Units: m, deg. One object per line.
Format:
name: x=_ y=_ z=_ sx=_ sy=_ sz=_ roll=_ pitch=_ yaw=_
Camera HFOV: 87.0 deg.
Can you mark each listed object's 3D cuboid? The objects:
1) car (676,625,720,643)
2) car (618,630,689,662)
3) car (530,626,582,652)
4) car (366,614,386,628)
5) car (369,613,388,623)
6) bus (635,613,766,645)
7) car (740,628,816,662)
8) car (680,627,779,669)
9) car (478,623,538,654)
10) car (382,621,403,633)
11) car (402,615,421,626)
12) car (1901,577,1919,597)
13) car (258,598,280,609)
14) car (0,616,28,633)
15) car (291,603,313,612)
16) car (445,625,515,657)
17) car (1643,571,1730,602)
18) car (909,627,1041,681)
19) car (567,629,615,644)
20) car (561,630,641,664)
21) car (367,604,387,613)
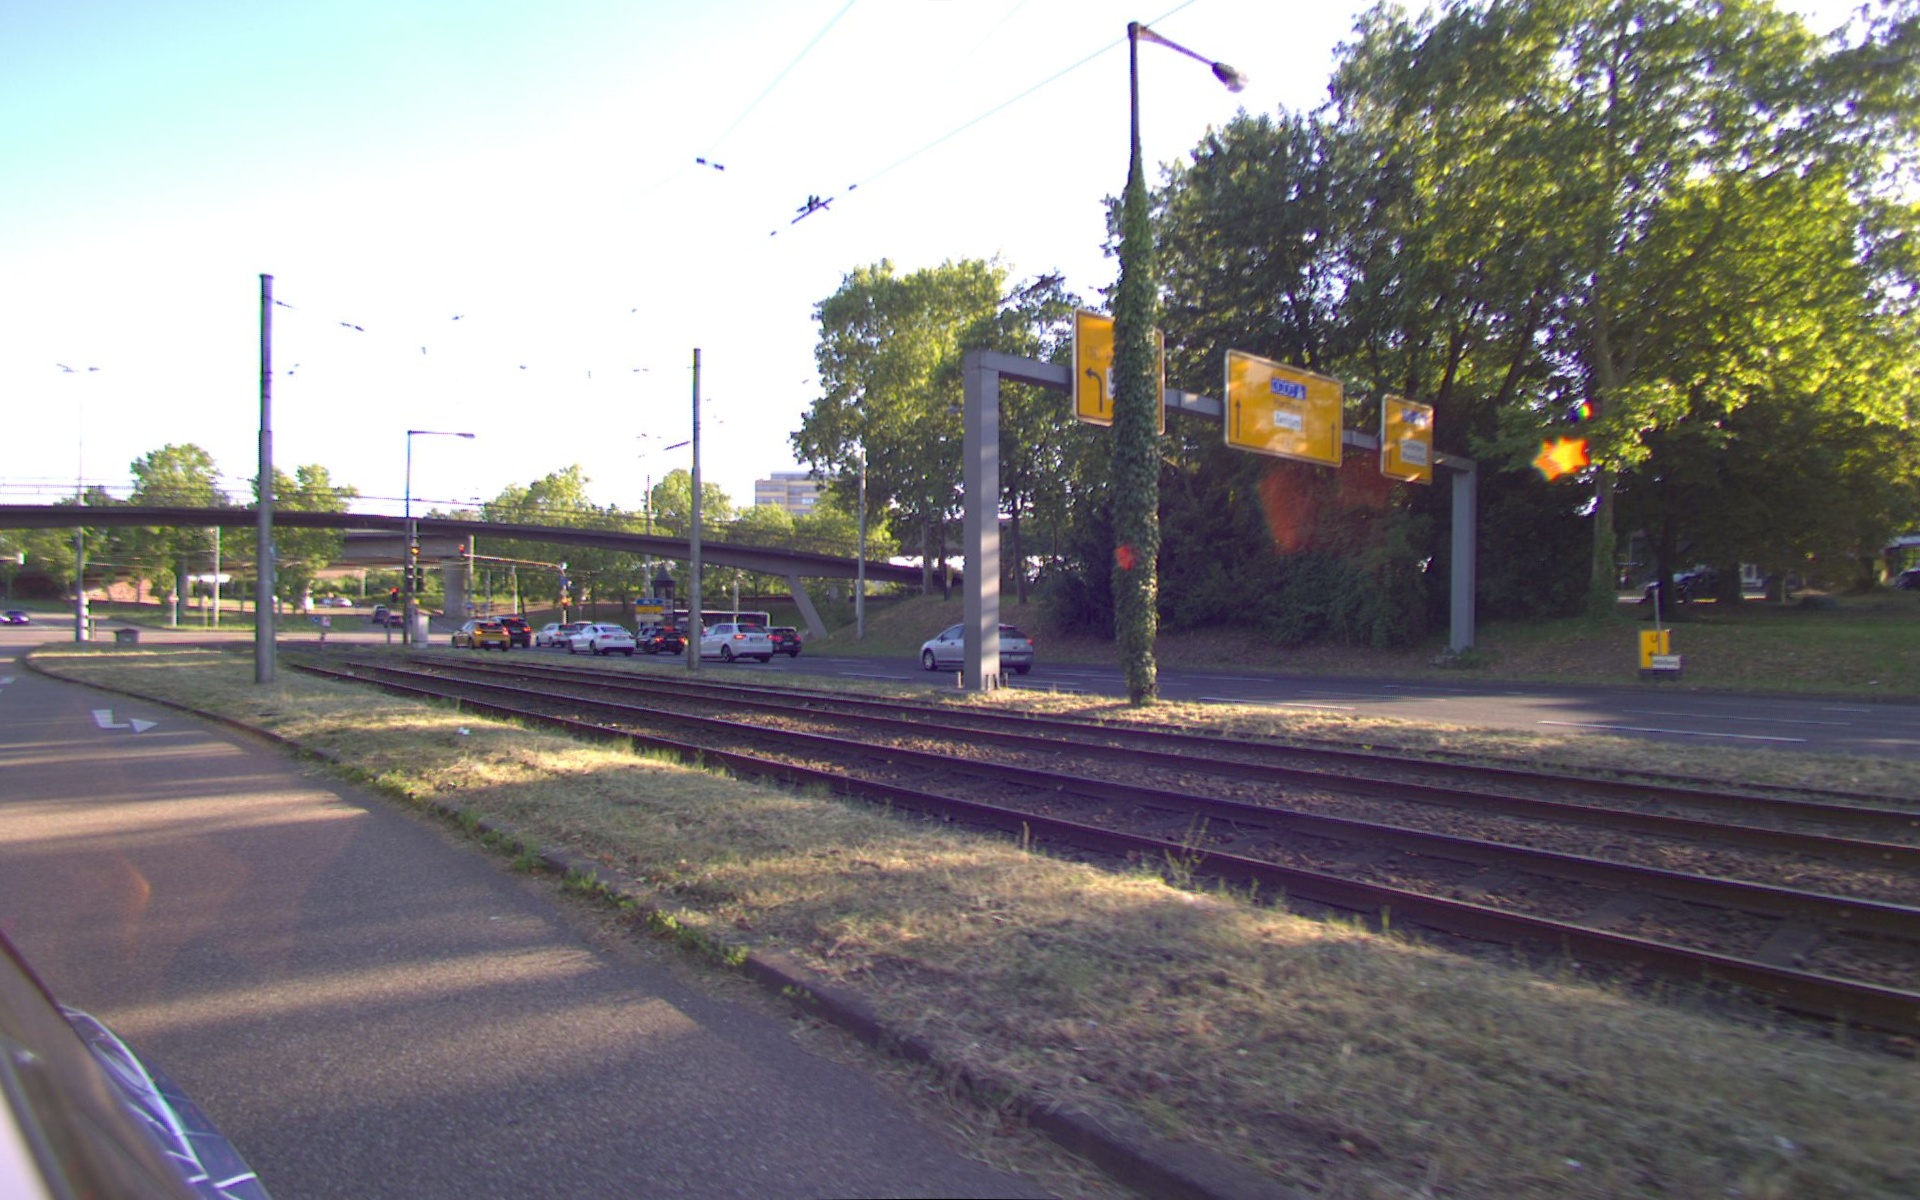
car: x=-25.443 y=3.270 z=98.248 sx=4.024 sy=1.665 sz=1.722 roll=1 pitch=-1 yaw=-19
car: x=-15.543 y=2.295 z=51.174 sx=1.815 sy=1.493 sz=4.443 roll=0 pitch=-1 yaw=-40
car: x=-24.928 y=2.376 z=62.358 sx=1.665 sy=1.426 sz=4.445 roll=0 pitch=-1 yaw=-40
car: x=-70.352 y=2.548 z=121.886 sx=1.766 sy=1.663 sz=4.368 roll=1 pitch=-1 yaw=-35
car: x=-87.110 y=2.737 z=151.656 sx=1.979 sy=1.454 sz=4.871 roll=1 pitch=-1 yaw=-36
bus: x=-26.187 y=2.918 z=102.216 sx=12.632 sy=2.977 sz=2.840 roll=1 pitch=-1 yaw=-18
car: x=-8.966 y=2.167 z=49.593 sx=1.814 sy=1.493 sz=4.610 roll=0 pitch=-1 yaw=-36
car: x=-8.530 y=1.731 z=37.224 sx=1.633 sy=1.426 sz=4.263 roll=0 pitch=-2 yaw=-43
car: x=-25.527 y=2.139 z=57.080 sx=1.816 sy=1.667 sz=4.442 roll=0 pitch=-1 yaw=-41
car: x=-62.129 y=2.917 z=110.743 sx=1.663 sy=1.320 sz=4.321 roll=1 pitch=-1 yaw=-34
car: x=-76.322 y=2.879 z=140.739 sx=1.978 sy=1.454 sz=4.265 roll=1 pitch=-1 yaw=-33
car: x=55.064 y=-0.771 z=56.546 sx=3.517 sy=1.129 sz=1.349 roll=-1 pitch=-1 yaw=39
car: x=-124.973 y=0.674 z=183.113 sx=4.135 sy=1.881 sz=1.836 roll=0 pitch=-1 yaw=34
car: x=-87.331 y=2.241 z=93.178 sx=4.000 sy=1.497 sz=1.972 roll=-1 pitch=-2 yaw=43
car: x=-117.325 y=1.322 z=180.387 sx=4.299 sy=1.621 sz=1.834 roll=0 pitch=-1 yaw=36
car: x=-22.962 y=1.904 z=48.368 sx=1.817 sy=1.426 sz=4.021 roll=1 pitch=-1 yaw=-44
car: x=32.748 y=-0.593 z=45.629 sx=3.461 sy=1.342 sz=1.529 roll=-1 pitch=-1 yaw=-21
car: x=0.370 y=1.535 z=29.802 sx=1.631 sy=1.426 sz=4.268 roll=0 pitch=-1 yaw=-36
car: x=-33.773 y=3.348 z=92.632 sx=4.024 sy=1.364 sz=1.722 roll=1 pitch=-1 yaw=-19
car: x=-16.361 y=2.088 z=46.001 sx=1.816 sy=1.426 sz=4.606 roll=1 pitch=-2 yaw=-41
car: x=-103.503 y=1.513 z=179.639 sx=4.369 sy=1.621 sz=1.831 roll=0 pitch=-1 yaw=42
